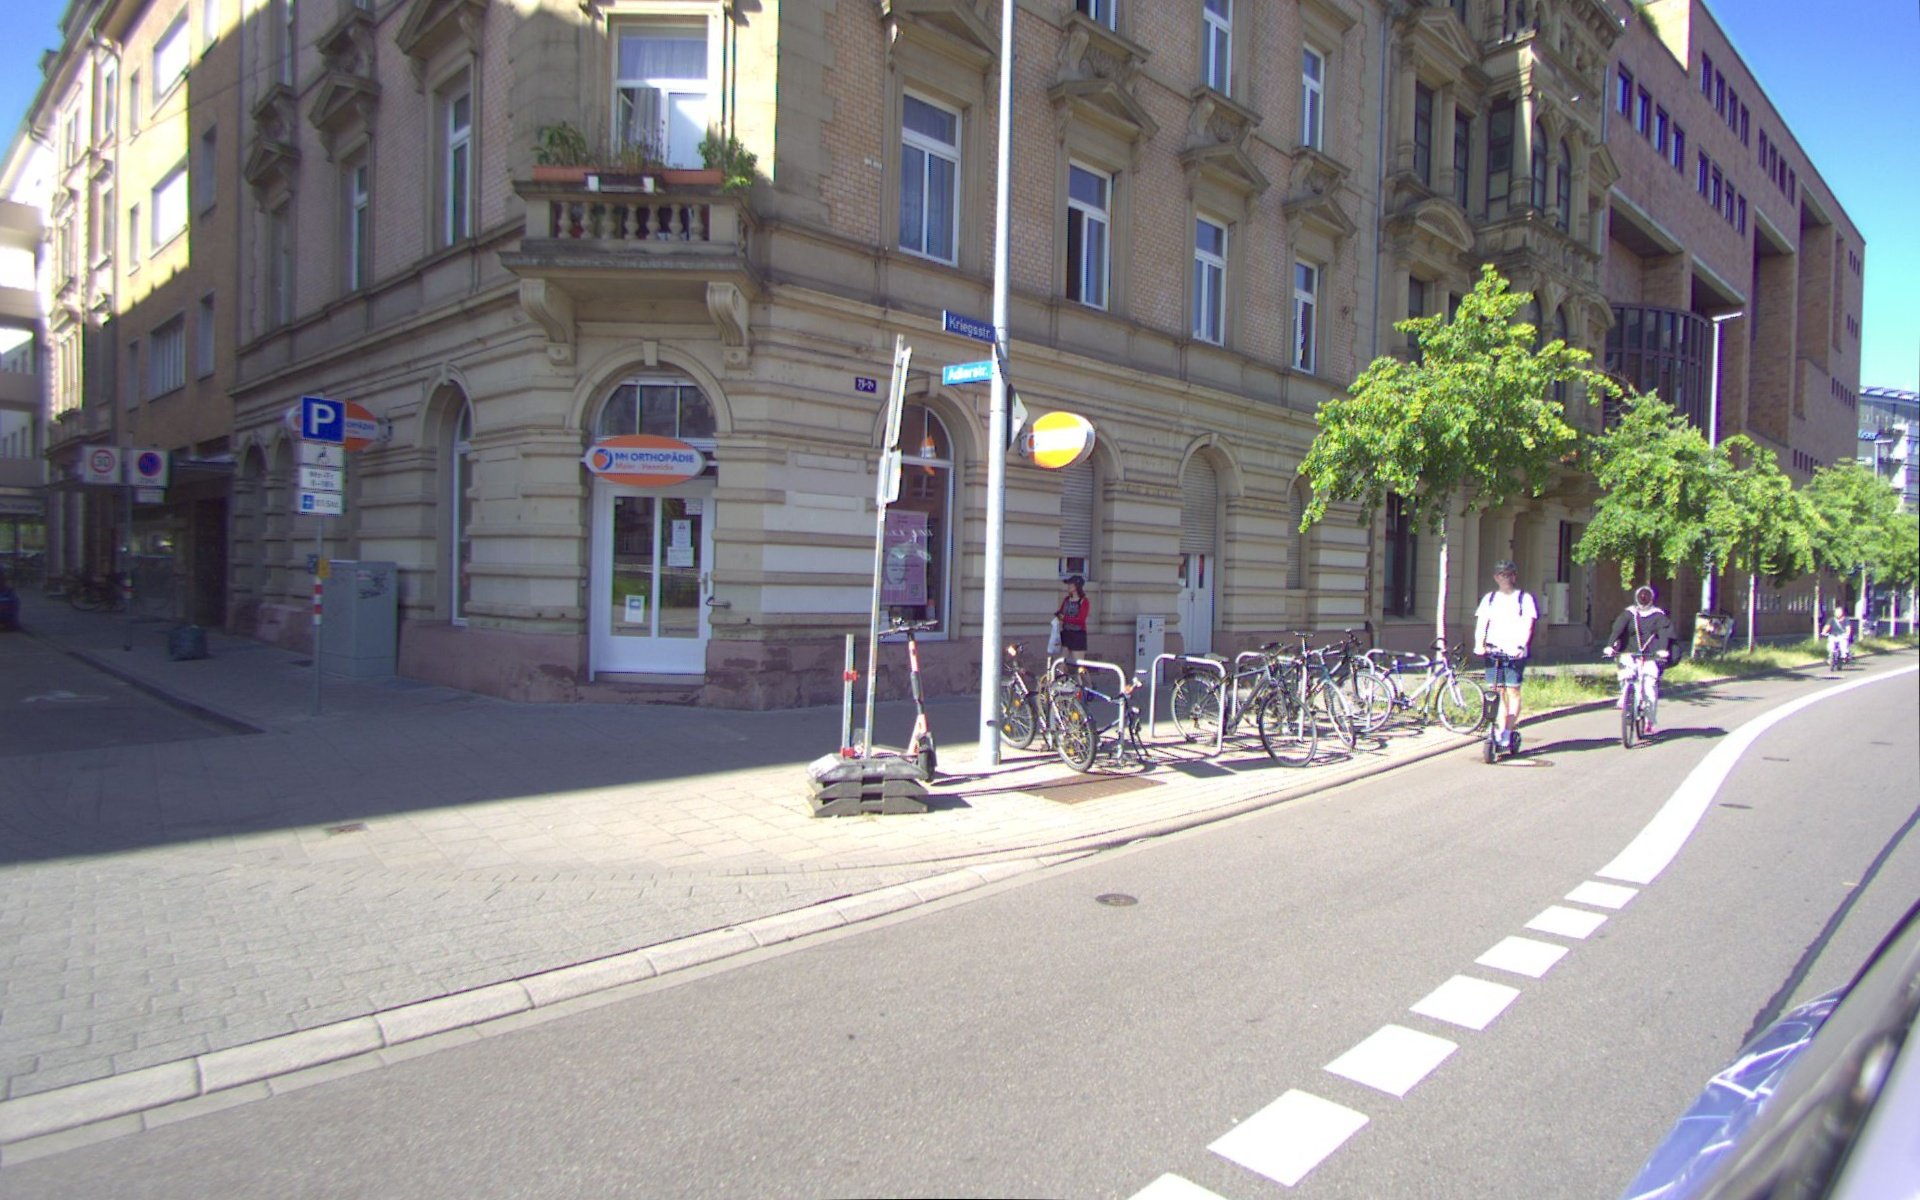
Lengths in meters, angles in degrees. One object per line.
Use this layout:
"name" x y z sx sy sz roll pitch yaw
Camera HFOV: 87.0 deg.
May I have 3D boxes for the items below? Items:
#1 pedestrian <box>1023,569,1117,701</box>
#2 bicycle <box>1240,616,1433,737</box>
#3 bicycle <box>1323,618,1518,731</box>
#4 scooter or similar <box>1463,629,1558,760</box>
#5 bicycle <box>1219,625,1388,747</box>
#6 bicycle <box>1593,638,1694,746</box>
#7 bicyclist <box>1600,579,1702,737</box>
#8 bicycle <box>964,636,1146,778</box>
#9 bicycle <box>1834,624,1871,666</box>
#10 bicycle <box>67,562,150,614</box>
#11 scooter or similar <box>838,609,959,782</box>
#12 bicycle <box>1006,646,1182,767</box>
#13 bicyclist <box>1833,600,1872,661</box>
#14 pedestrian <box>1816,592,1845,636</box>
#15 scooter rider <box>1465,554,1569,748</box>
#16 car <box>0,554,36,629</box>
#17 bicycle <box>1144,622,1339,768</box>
"pedestrian" 1.367 0.410 12.550 0.911 1.561 0.710 0 1 -41
"bicycle" 4.383 0.842 11.921 0.697 1.142 2.001 1 4 -39
"bicycle" 5.653 0.864 12.505 1.993 1.106 0.835 6 4 40
"scooter or similar" 5.665 0.937 10.395 1.150 1.242 0.491 1 -1 -42
"bicycle" 3.631 0.868 10.813 0.595 1.058 1.605 1 3 -37
"bicycle" 7.958 1.025 11.756 1.761 1.106 0.558 0 -1 -42
"bicyclist" 8.017 0.640 11.740 0.853 1.733 0.780 1 -1 -41
"bicycle" 0.758 0.847 8.583 0.595 0.955 1.677 1 2 -33
"bicycle" 23.411 1.163 26.544 1.481 1.040 0.558 0 -1 -42
"bicycle" -20.731 -0.298 24.639 1.988 1.193 0.629 2 1 19
"scooter or similar" -0.505 0.705 7.938 0.411 1.204 1.115 1 1 -33
"bicycle" 1.160 0.908 9.121 0.595 0.831 1.677 1 2 -34
"bicyclist" 23.438 0.788 26.574 0.893 1.557 0.658 1 -1 -41
"pedestrian" 38.996 0.631 45.346 1.087 1.906 0.789 0 1 -41
"scooter rider" 5.711 0.501 10.377 0.885 1.884 0.667 1 -1 -41
"car" -20.409 -0.248 20.634 3.982 1.438 1.775 3 -1 40
"bicycle" 2.626 0.843 9.634 0.595 1.114 1.729 1 3 -37
